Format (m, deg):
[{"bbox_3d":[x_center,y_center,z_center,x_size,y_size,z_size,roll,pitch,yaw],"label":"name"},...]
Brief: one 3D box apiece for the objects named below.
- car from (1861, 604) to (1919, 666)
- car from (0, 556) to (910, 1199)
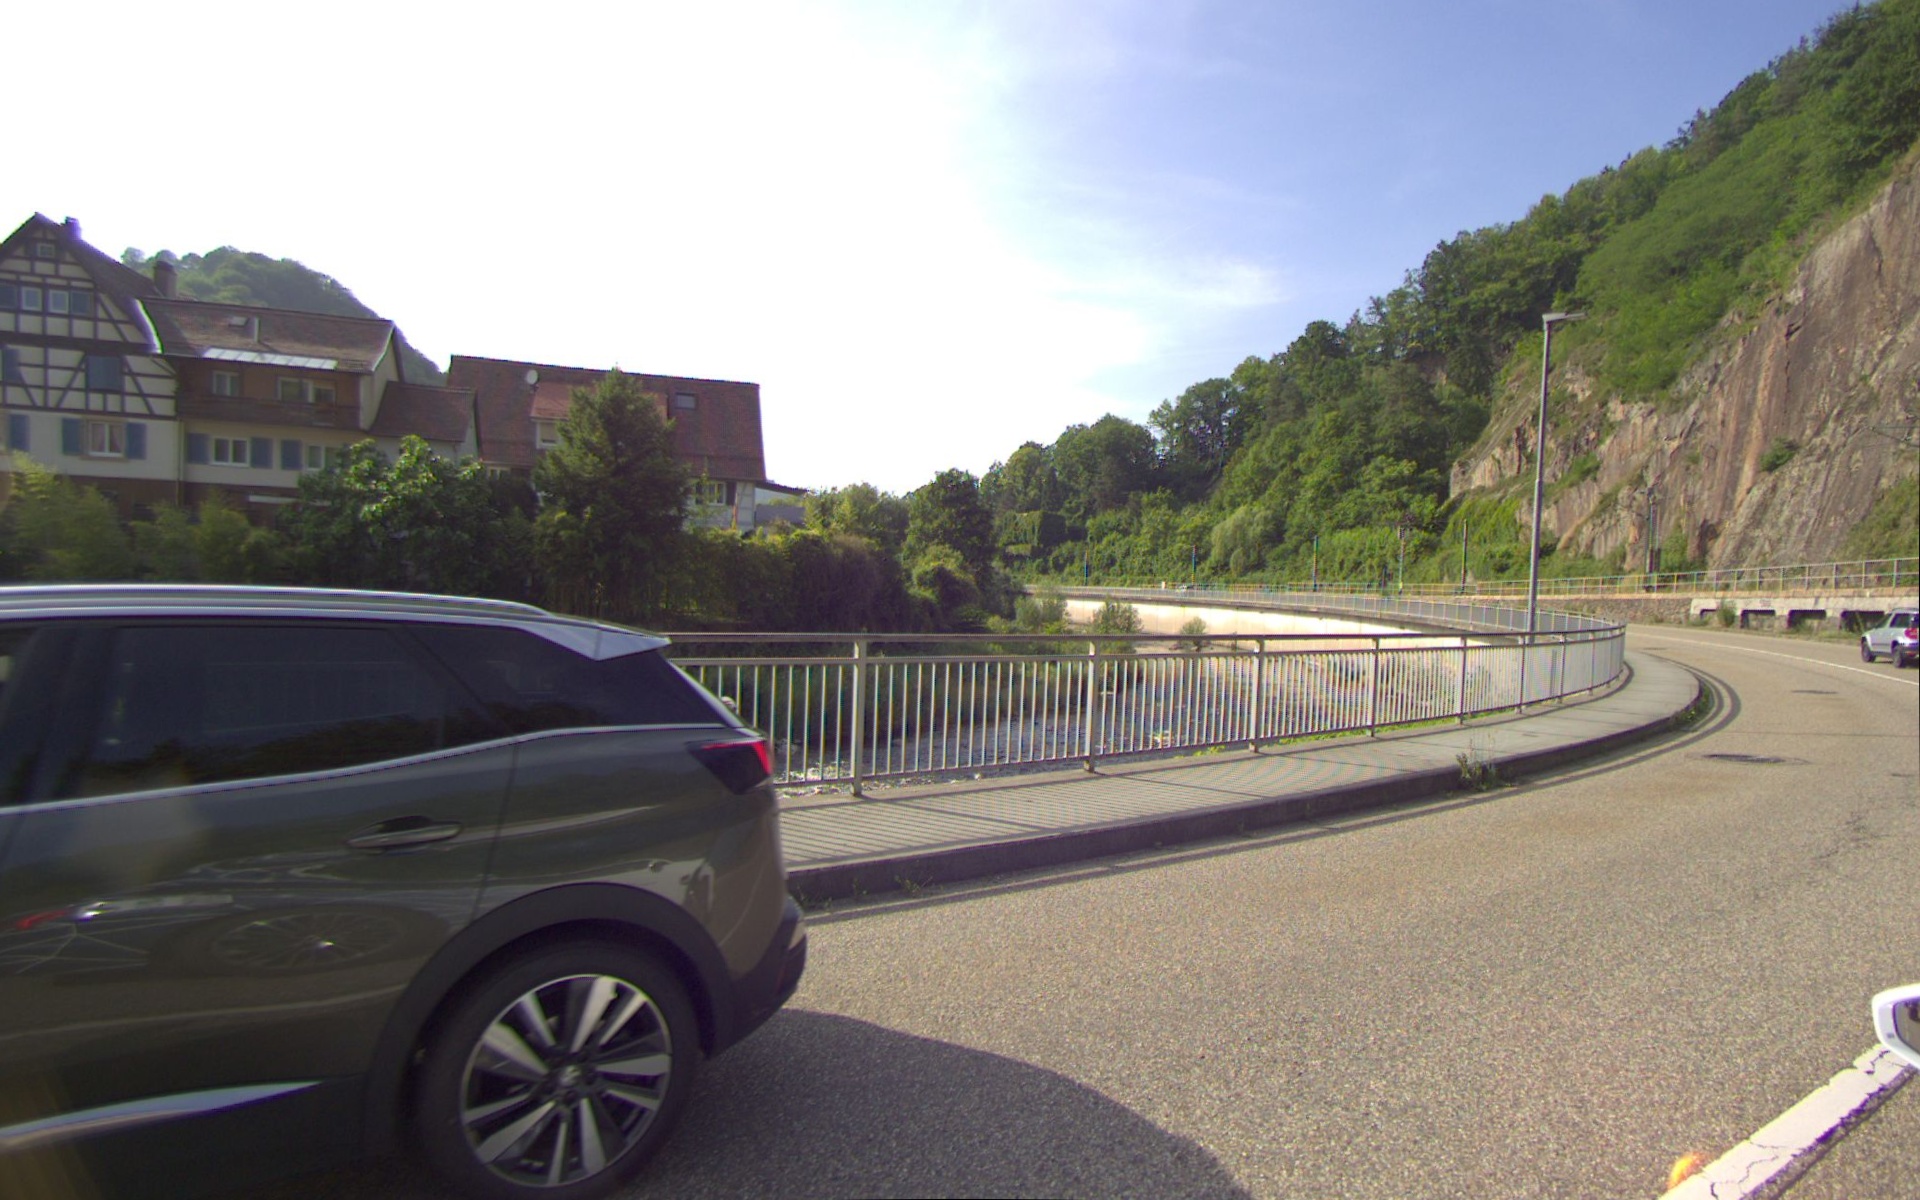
[{"bbox_3d":[27.250,0.966,28.505,1.847,1.678,3.989,-1,-1,33],"label":"car"},{"bbox_3d":[-2.299,0.785,2.828,3.955,1.664,1.806,1,-3,-32],"label":"car"}]
